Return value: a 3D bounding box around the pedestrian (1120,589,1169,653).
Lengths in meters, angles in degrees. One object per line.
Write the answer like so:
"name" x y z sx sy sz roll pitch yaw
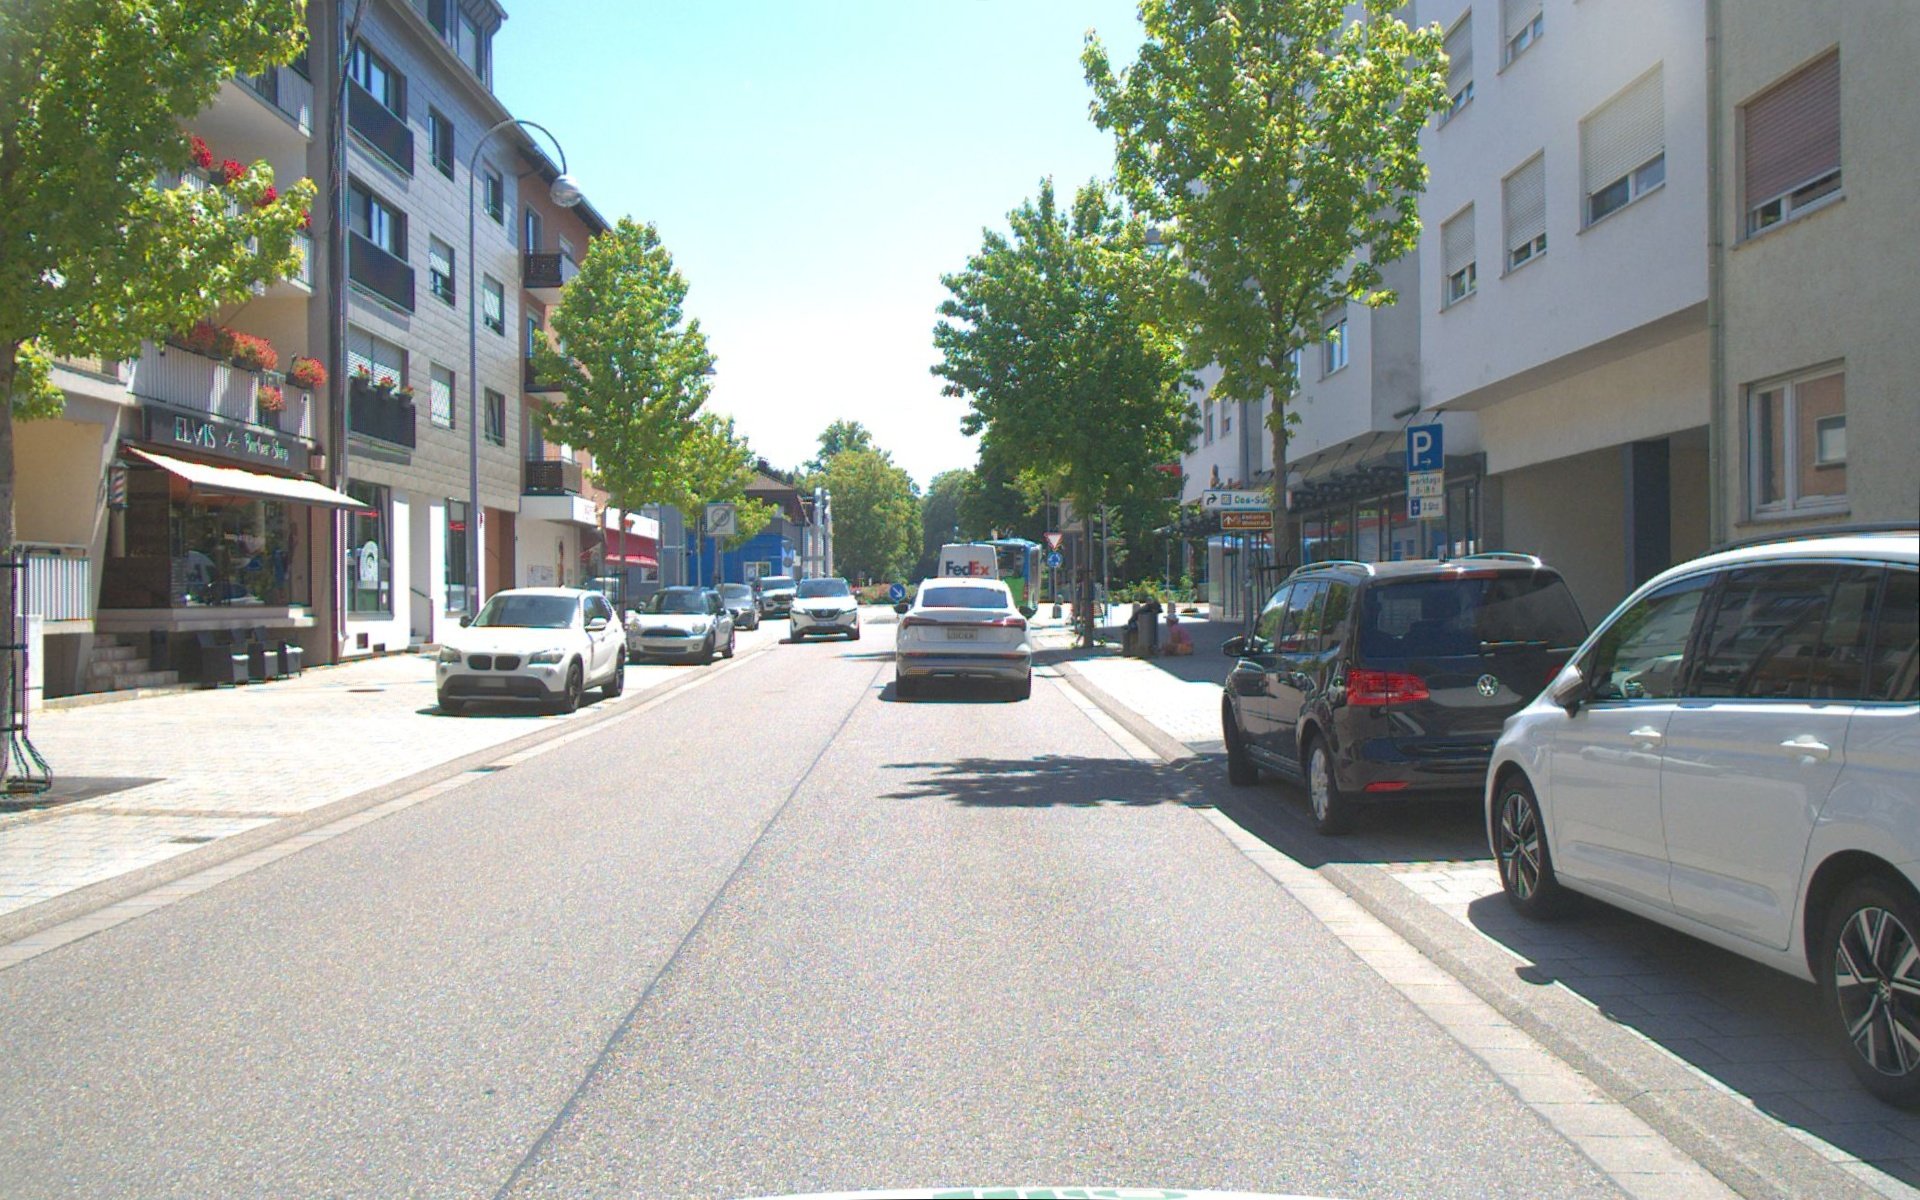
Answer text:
"pedestrian" 3.714 0.413 33.347 0.887 1.258 0.648 -1 0 -2

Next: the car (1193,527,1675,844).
"car" 2.997 0.457 11.584 1.819 1.703 4.534 -2 1 -3

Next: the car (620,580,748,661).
"car" -5.492 0.377 33.448 1.716 1.478 4.401 1 0 1

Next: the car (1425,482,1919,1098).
"car" 3.474 0.477 6.247 1.858 1.703 4.688 -2 1 -3

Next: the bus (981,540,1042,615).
"bus" 2.310 -1.005 76.260 2.606 3.266 7.452 1 0 0

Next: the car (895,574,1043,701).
"car" 0.062 0.486 24.001 1.953 1.661 3.999 1 0 -2

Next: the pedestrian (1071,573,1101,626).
"pedestrian" 3.715 -0.015 48.945 0.574 1.529 0.712 -1 0 -28

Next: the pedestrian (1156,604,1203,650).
"pedestrian" 4.366 0.528 32.884 0.887 0.894 0.648 -1 0 4

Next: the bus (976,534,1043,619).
"bus" 2.085 -0.930 68.975 2.605 3.277 7.303 1 0 2

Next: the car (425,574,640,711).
"car" -5.687 0.512 22.578 1.716 1.646 4.401 1 0 1

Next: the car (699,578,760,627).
"car" -7.572 0.075 54.588 1.802 1.521 3.995 -1 1 -6

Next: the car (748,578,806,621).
"car" -7.990 -0.023 72.009 1.835 1.788 3.983 1 0 -16

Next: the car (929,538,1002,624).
"car" 0.147 -0.559 51.364 2.112 2.484 5.283 1 0 0

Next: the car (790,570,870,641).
"car" -3.407 0.123 43.983 1.818 1.721 4.149 -2 0 -1
